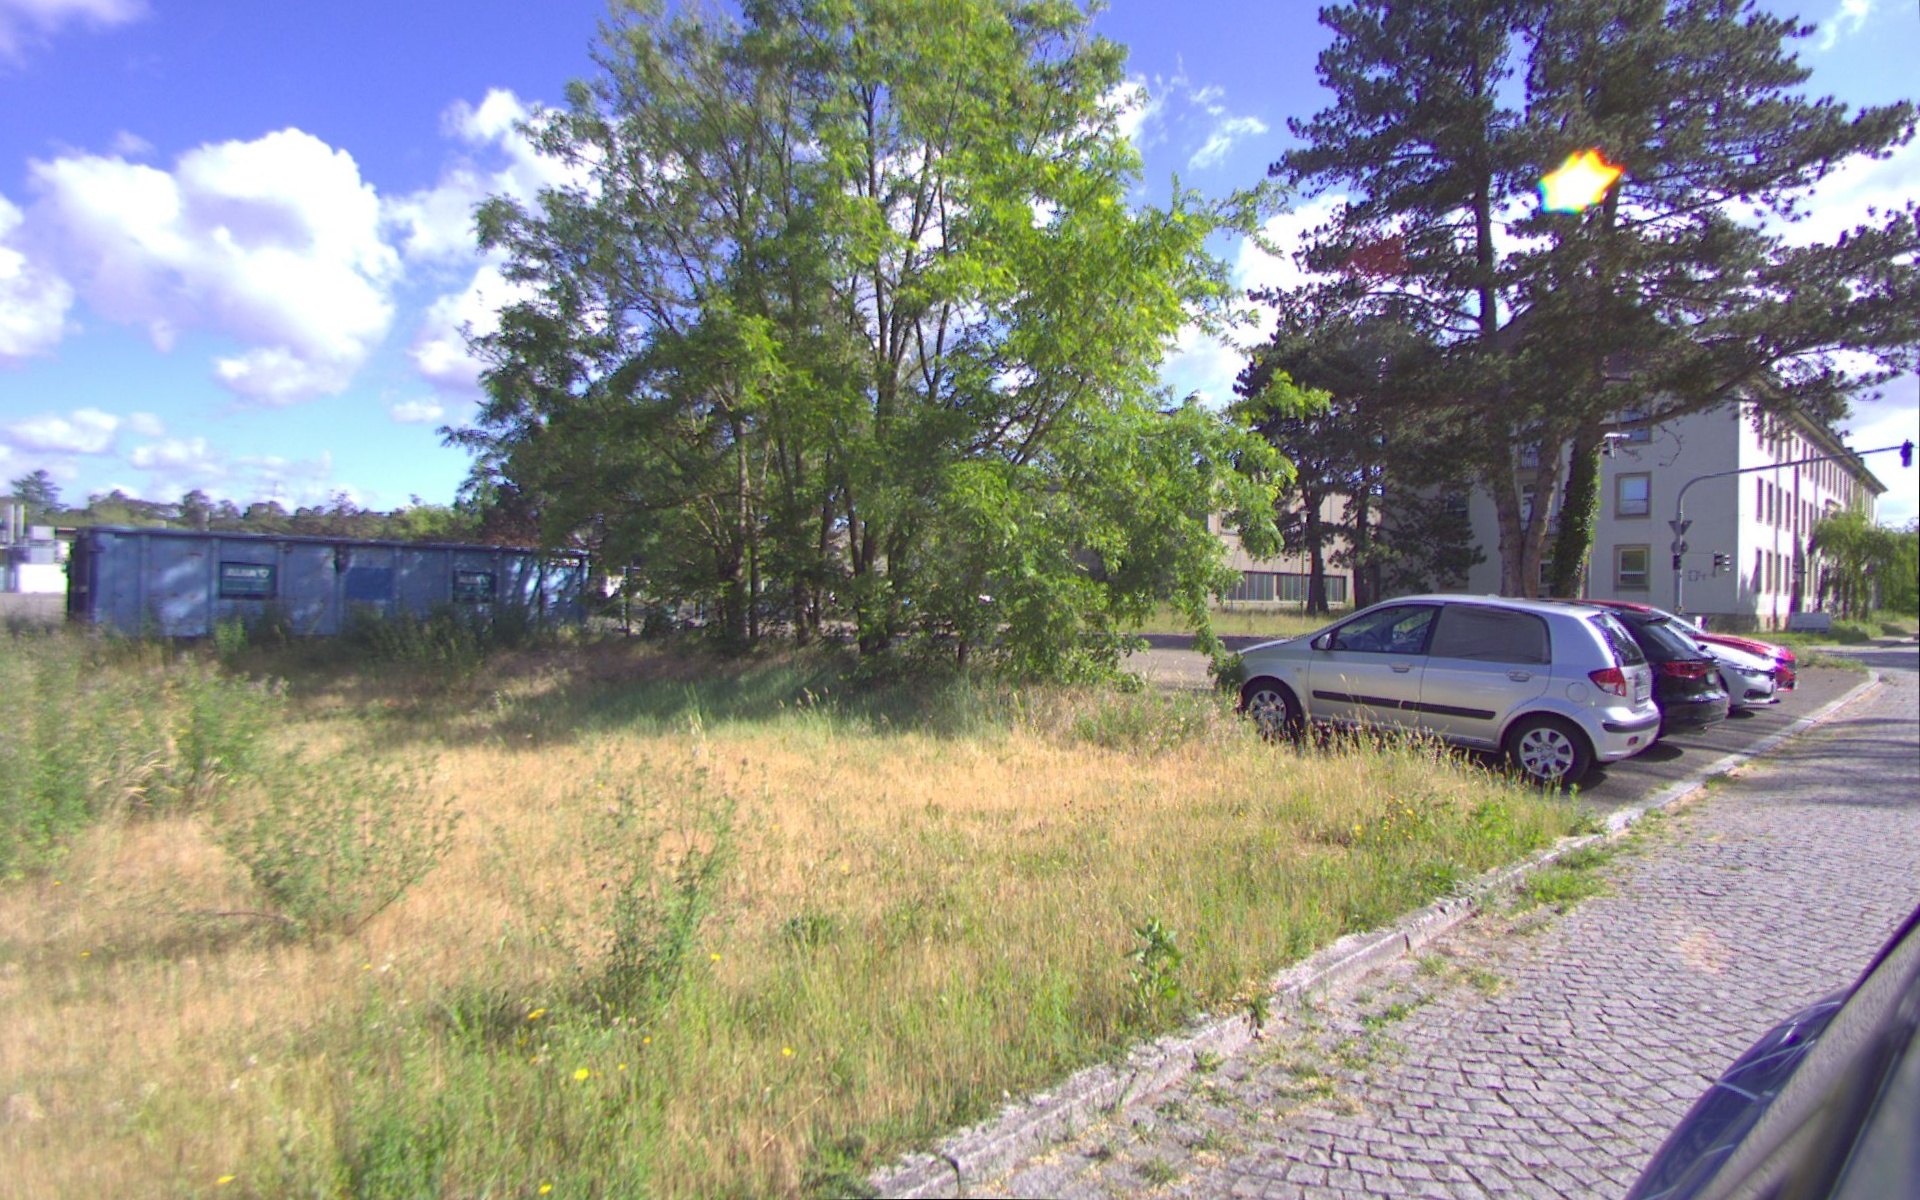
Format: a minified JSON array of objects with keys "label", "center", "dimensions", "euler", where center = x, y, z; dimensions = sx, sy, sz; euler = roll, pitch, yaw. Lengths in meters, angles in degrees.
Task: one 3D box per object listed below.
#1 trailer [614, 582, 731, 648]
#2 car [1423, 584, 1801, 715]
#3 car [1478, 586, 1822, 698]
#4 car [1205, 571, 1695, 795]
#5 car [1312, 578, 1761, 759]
[{"label":"trailer","center":[-5.315,0.256,18.594],"dimensions":[2.399,1.119,1.019],"euler":[0,0,44]},{"label":"car","center":[9.721,0.618,15.364],"dimensions":[1.809,1.482,4.516],"euler":[0,3,-45]},{"label":"car","center":[11.652,0.600,17.351],"dimensions":[1.863,1.438,4.543],"euler":[0,3,-43]},{"label":"car","center":[4.427,0.584,9.528],"dimensions":[1.723,1.494,3.745],"euler":[0,4,-44]},{"label":"car","center":[6.334,0.608,11.442],"dimensions":[1.813,1.458,4.009],"euler":[1,3,-44]}]
